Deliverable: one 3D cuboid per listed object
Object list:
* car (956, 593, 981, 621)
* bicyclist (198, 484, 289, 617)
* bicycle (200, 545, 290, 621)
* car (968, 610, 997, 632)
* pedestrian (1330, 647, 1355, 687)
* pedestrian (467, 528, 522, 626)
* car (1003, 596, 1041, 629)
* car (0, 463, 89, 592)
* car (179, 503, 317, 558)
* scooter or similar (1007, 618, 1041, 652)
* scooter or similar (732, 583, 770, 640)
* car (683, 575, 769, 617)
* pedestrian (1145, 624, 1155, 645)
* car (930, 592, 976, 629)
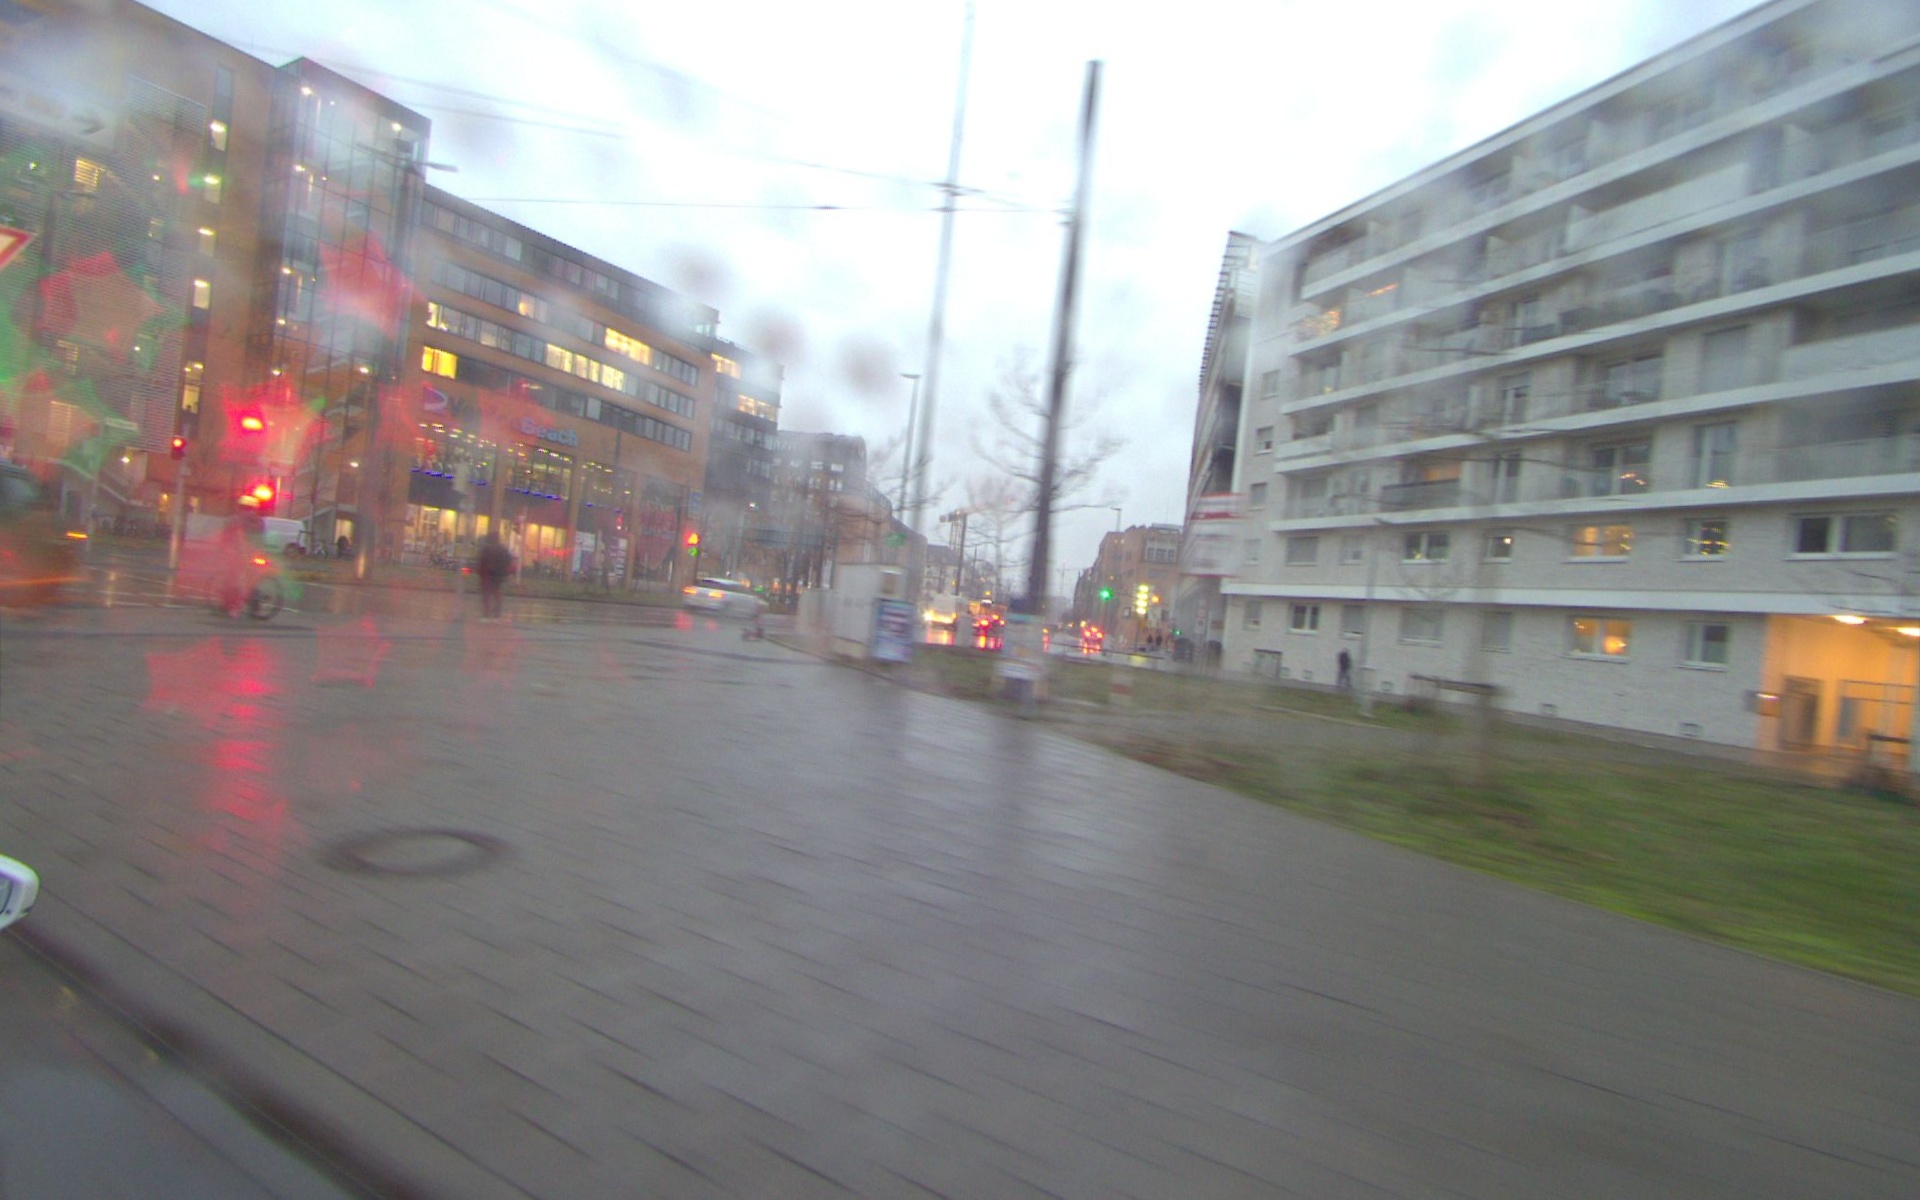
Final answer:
[{"bbox_3d":[0.972,0.800,115.023,2.319,2.861,6.358,7,-1,-1],"label":"car"},{"bbox_3d":[-11.038,-0.762,15.488,0.975,1.914,0.789,7,1,41],"label":"bicyclist"},{"bbox_3d":[-11.098,-0.277,15.588,1.840,0.985,0.654,6,0,41],"label":"bicycle"},{"bbox_3d":[1.894,1.735,84.077,1.494,1.538,3.474,7,-1,14],"label":"car"},{"bbox_3d":[16.414,2.879,43.120,0.624,1.652,0.718,7,1,41],"label":"pedestrian"},{"bbox_3d":[-9.504,-0.467,20.530,0.768,1.901,0.630,6,1,-33],"label":"pedestrian"},{"bbox_3d":[6.231,1.284,100.407,2.318,2.861,6.363,7,-1,15],"label":"car"},{"bbox_3d":[-14.400,-1.126,13.730,1.821,1.828,4.474,7,-1,-14],"label":"car"},{"bbox_3d":[-32.111,-3.102,45.509,1.897,1.740,4.601,7,-1,31],"label":"car"},{"bbox_3d":[2.630,1.442,41.441,0.658,1.241,1.555,6,-2,30],"label":"scooter or similar"},{"bbox_3d":[-4.731,0.278,22.843,0.327,1.221,1.310,6,0,7],"label":"scooter or similar"},{"bbox_3d":[-9.652,-0.141,41.709,1.614,1.377,3.734,7,-1,19],"label":"car"},{"bbox_3d":[16.480,3.011,87.239,0.522,1.703,0.745,7,0,18],"label":"pedestrian"},{"bbox_3d":[-0.499,0.843,77.707,1.962,2.457,5.978,7,-1,13],"label":"car"}]
